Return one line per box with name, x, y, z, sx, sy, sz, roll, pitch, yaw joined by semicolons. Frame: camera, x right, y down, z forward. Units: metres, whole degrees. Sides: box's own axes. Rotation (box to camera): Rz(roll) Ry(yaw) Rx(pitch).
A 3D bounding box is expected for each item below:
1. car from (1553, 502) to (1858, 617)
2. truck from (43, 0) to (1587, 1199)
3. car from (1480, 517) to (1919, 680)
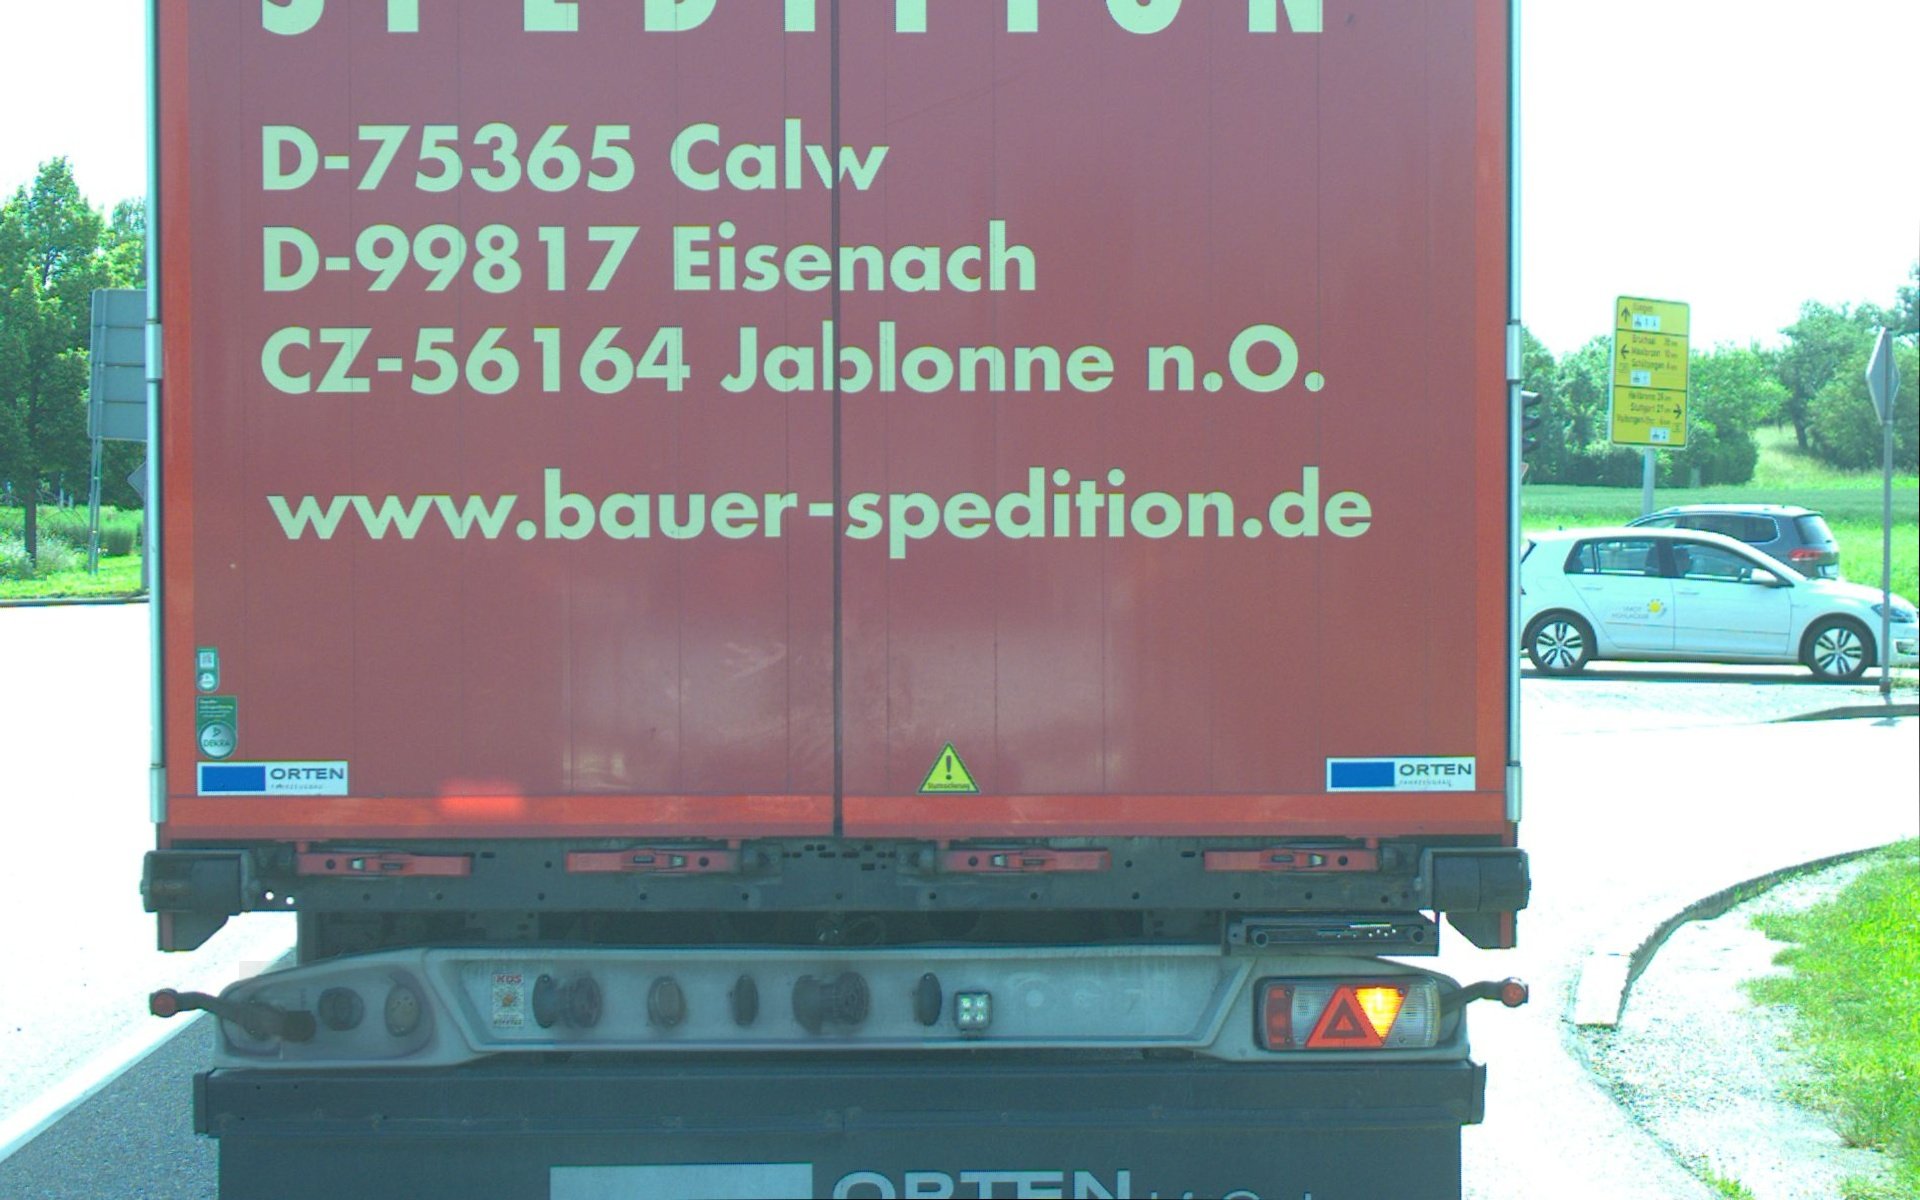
car;10.848;-0.605;50.121;3.995;1.590;1.661;2;1;35
truck;-0.387;-0.789;14.427;2.734;3.911;16.627;0;1;-1
car;7.313;-0.049;33.728;4.248;1.456;1.809;1;2;12
